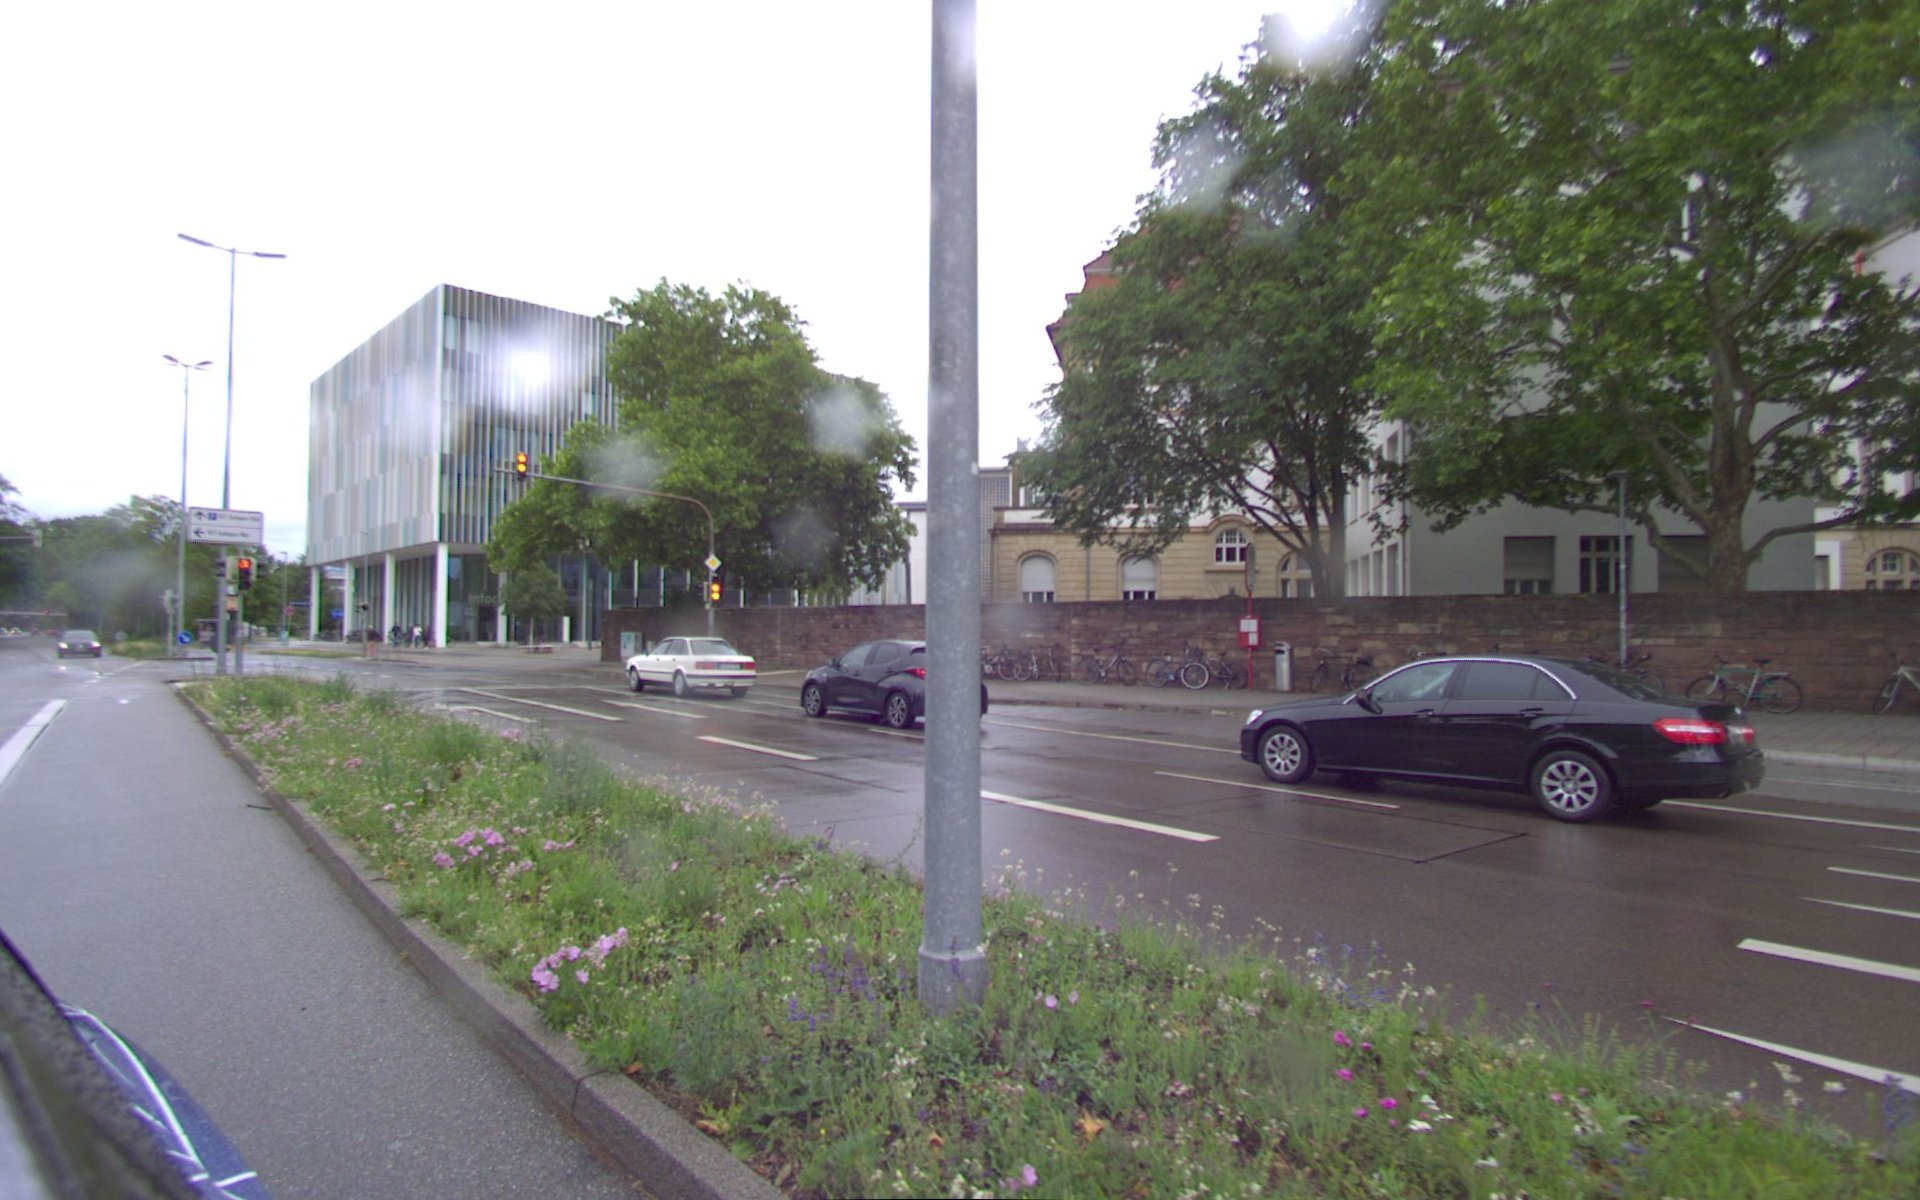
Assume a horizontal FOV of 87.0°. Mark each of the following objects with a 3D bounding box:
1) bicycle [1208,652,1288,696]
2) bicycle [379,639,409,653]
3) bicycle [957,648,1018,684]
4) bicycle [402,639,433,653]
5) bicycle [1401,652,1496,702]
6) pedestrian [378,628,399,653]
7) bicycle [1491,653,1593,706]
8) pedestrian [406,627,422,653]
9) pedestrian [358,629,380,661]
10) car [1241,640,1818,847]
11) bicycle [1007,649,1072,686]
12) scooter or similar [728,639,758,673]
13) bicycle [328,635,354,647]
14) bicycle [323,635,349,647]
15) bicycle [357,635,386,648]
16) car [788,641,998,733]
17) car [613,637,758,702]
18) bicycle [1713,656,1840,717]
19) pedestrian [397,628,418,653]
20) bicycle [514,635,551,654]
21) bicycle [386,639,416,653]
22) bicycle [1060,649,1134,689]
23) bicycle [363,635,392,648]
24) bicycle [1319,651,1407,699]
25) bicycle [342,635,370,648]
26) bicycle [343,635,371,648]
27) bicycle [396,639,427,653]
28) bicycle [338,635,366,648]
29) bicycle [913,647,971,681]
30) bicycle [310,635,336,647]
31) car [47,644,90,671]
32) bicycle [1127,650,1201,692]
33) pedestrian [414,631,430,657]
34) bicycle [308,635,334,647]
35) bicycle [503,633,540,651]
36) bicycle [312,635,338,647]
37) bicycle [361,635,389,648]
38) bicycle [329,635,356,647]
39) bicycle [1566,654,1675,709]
[{"bbox_3d":[6.957,1.766,24.490,1.699,0.990,0.724,-2,-2,38],"label":"bicycle"},{"bbox_3d":[-49.135,3.973,87.909,0.598,1.231,2.258,-2,-3,36],"label":"bicycle"},{"bbox_3d":[0.793,1.895,29.440,1.699,0.990,0.724,-2,-2,38],"label":"bicycle"},{"bbox_3d":[-46.237,3.920,86.322,0.598,1.231,2.258,-2,-3,36],"label":"bicycle"},{"bbox_3d":[10.427,1.619,21.615,1.699,0.990,0.724,-2,-2,38],"label":"bicycle"},{"bbox_3d":[-41.498,2.948,73.525,0.916,1.838,0.934,-1,-2,18],"label":"pedestrian"},{"bbox_3d":[11.833,1.599,20.599,1.699,0.990,0.724,-2,-2,38],"label":"bicycle"},{"bbox_3d":[-39.347,2.877,72.989,0.621,1.838,0.780,-1,-3,25],"label":"pedestrian"},{"bbox_3d":[-34.189,2.609,58.528,0.791,1.838,0.780,-1,-3,25],"label":"pedestrian"},{"bbox_3d":[5.346,1.213,10.137,1.786,1.552,4.711,4,-4,-40],"label":"car"},{"bbox_3d":[2.230,1.886,28.471,1.699,0.990,0.724,-2,-2,38],"label":"bicycle"},{"bbox_3d":[-8.009,2.070,37.369,1.142,1.206,0.387,-2,4,43],"label":"scooter or similar"},{"bbox_3d":[-62.662,4.152,102.416,2.247,1.231,0.600,1,-3,-32],"label":"bicycle"},{"bbox_3d":[-63.958,4.219,103.810,2.247,1.231,0.600,1,-3,-32],"label":"bicycle"},{"bbox_3d":[-54.762,3.855,94.148,2.247,1.231,0.600,1,-3,-32],"label":"bicycle"},{"bbox_3d":[-1.296,1.466,17.987,1.603,1.426,4.072,4,-4,-40],"label":"car"},{"bbox_3d":[-6.705,1.624,24.423,1.576,1.426,4.531,4,-4,-40],"label":"car"},{"bbox_3d":[14.456,1.519,17.976,1.699,0.990,0.724,-2,-2,38],"label":"bicycle"},{"bbox_3d":[-40.353,2.966,73.941,0.918,1.838,0.931,-1,-3,25],"label":"pedestrian"},{"bbox_3d":[-28.305,2.912,67.038,0.598,1.231,2.258,-2,-3,36],"label":"bicycle"},{"bbox_3d":[-48.207,3.951,87.268,0.598,1.231,2.258,-2,-3,36],"label":"bicycle"},{"bbox_3d":[3.602,1.800,26.771,1.864,0.990,0.723,-2,-2,42],"label":"bicycle"},{"bbox_3d":[-53.371,3.803,92.711,2.247,1.231,0.600,1,-3,-32],"label":"bicycle"},{"bbox_3d":[8.999,1.655,22.627,1.699,0.990,0.724,-2,-2,38],"label":"bicycle"},{"bbox_3d":[-57.695,3.964,96.735,2.247,1.231,0.600,1,-3,-32],"label":"bicycle"},{"bbox_3d":[-57.244,3.928,96.028,2.247,1.231,0.600,1,-3,-32],"label":"bicycle"},{"bbox_3d":[-46.888,3.927,86.563,0.598,1.231,2.258,-2,-3,36],"label":"bicycle"},{"bbox_3d":[-58.901,4.011,98.024,2.247,1.231,0.600,1,-3,-32],"label":"bicycle"},{"bbox_3d":[-0.557,1.950,30.951,1.699,0.990,0.724,-2,-2,38],"label":"bicycle"},{"bbox_3d":[-66.198,4.249,105.183,2.247,1.231,0.600,1,-3,-32],"label":"bicycle"},{"bbox_3d":[-48.410,3.079,54.929,1.636,1.375,4.111,2,-3,-43],"label":"car"},{"bbox_3d":[5.170,1.794,25.716,1.699,0.990,0.724,-2,-2,38],"label":"bicycle"},{"bbox_3d":[-38.083,3.096,71.627,0.621,1.838,0.780,-1,-3,25],"label":"pedestrian"},{"bbox_3d":[-67.715,4.324,107.233,2.247,1.231,0.600,1,-3,-32],"label":"bicycle"},{"bbox_3d":[-29.258,2.796,67.509,0.598,1.231,2.258,-2,-3,36],"label":"bicycle"},{"bbox_3d":[-65.580,4.226,104.548,2.247,1.231,0.600,1,-3,-32],"label":"bicycle"},{"bbox_3d":[-54.015,3.829,93.426,2.247,1.231,0.600,1,-3,-32],"label":"bicycle"},{"bbox_3d":[-62.880,4.177,103.065,2.247,1.231,0.600,1,-3,-32],"label":"bicycle"},{"bbox_3d":[12.839,1.568,19.692,1.699,0.990,0.724,-2,-2,38],"label":"bicycle"}]
